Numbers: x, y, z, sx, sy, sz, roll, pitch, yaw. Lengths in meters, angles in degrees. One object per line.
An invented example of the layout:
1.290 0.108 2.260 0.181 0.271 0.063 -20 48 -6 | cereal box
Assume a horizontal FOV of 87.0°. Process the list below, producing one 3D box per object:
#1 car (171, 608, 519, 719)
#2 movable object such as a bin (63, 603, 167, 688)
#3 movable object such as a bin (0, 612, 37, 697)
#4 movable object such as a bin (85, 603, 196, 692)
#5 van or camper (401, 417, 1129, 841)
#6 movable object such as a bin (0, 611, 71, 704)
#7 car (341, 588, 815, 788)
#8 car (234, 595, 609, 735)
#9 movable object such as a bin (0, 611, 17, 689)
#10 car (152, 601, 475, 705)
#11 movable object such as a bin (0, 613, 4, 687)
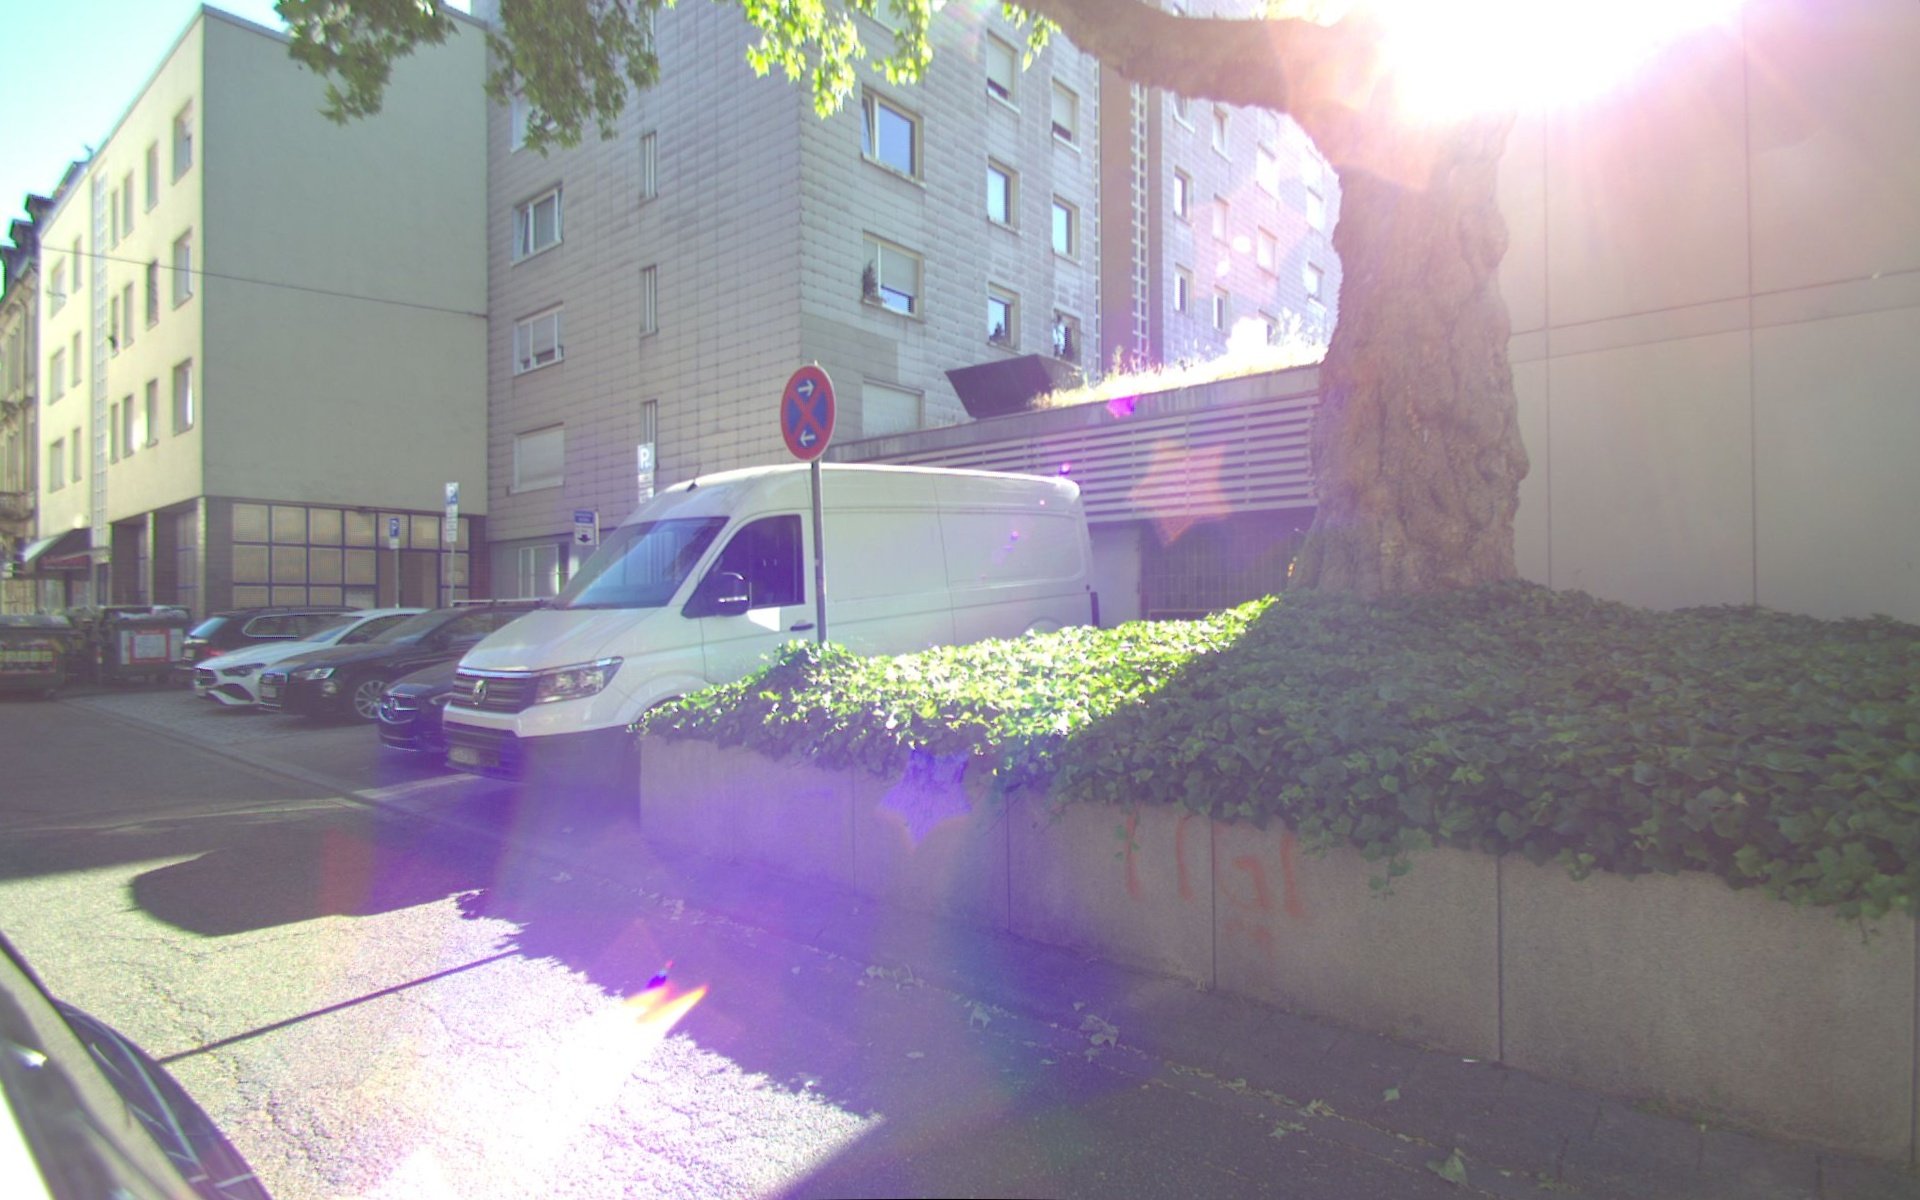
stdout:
-9.299 0.874 15.685 1.595 1.474 4.367 -2 -1 34 | car
-15.843 0.830 18.970 1.515 1.512 1.207 -1 -1 38 | movable object such as a bin
-18.021 0.986 18.633 1.923 1.512 1.231 -1 -1 38 | movable object such as a bin
-14.706 0.823 18.164 1.193 1.512 1.312 -1 -1 38 | movable object such as a bin
-1.112 0.034 9.449 1.999 2.593 6.835 -2 2 40 | van or camper
-16.176 0.962 17.265 1.876 1.512 1.225 -1 -3 40 | movable object such as a bin
-3.718 0.718 10.581 1.697 1.545 4.361 -1 1 39 | car
-7.286 0.788 14.161 1.694 1.629 4.367 -1 -1 34 | car
-19.457 0.985 19.826 1.558 1.512 1.207 -1 -1 38 | movable object such as a bin
-10.853 0.823 17.319 1.694 1.545 4.367 -2 -1 34 | car
-20.674 1.037 20.852 1.558 1.512 1.207 -1 -1 38 | movable object such as a bin
